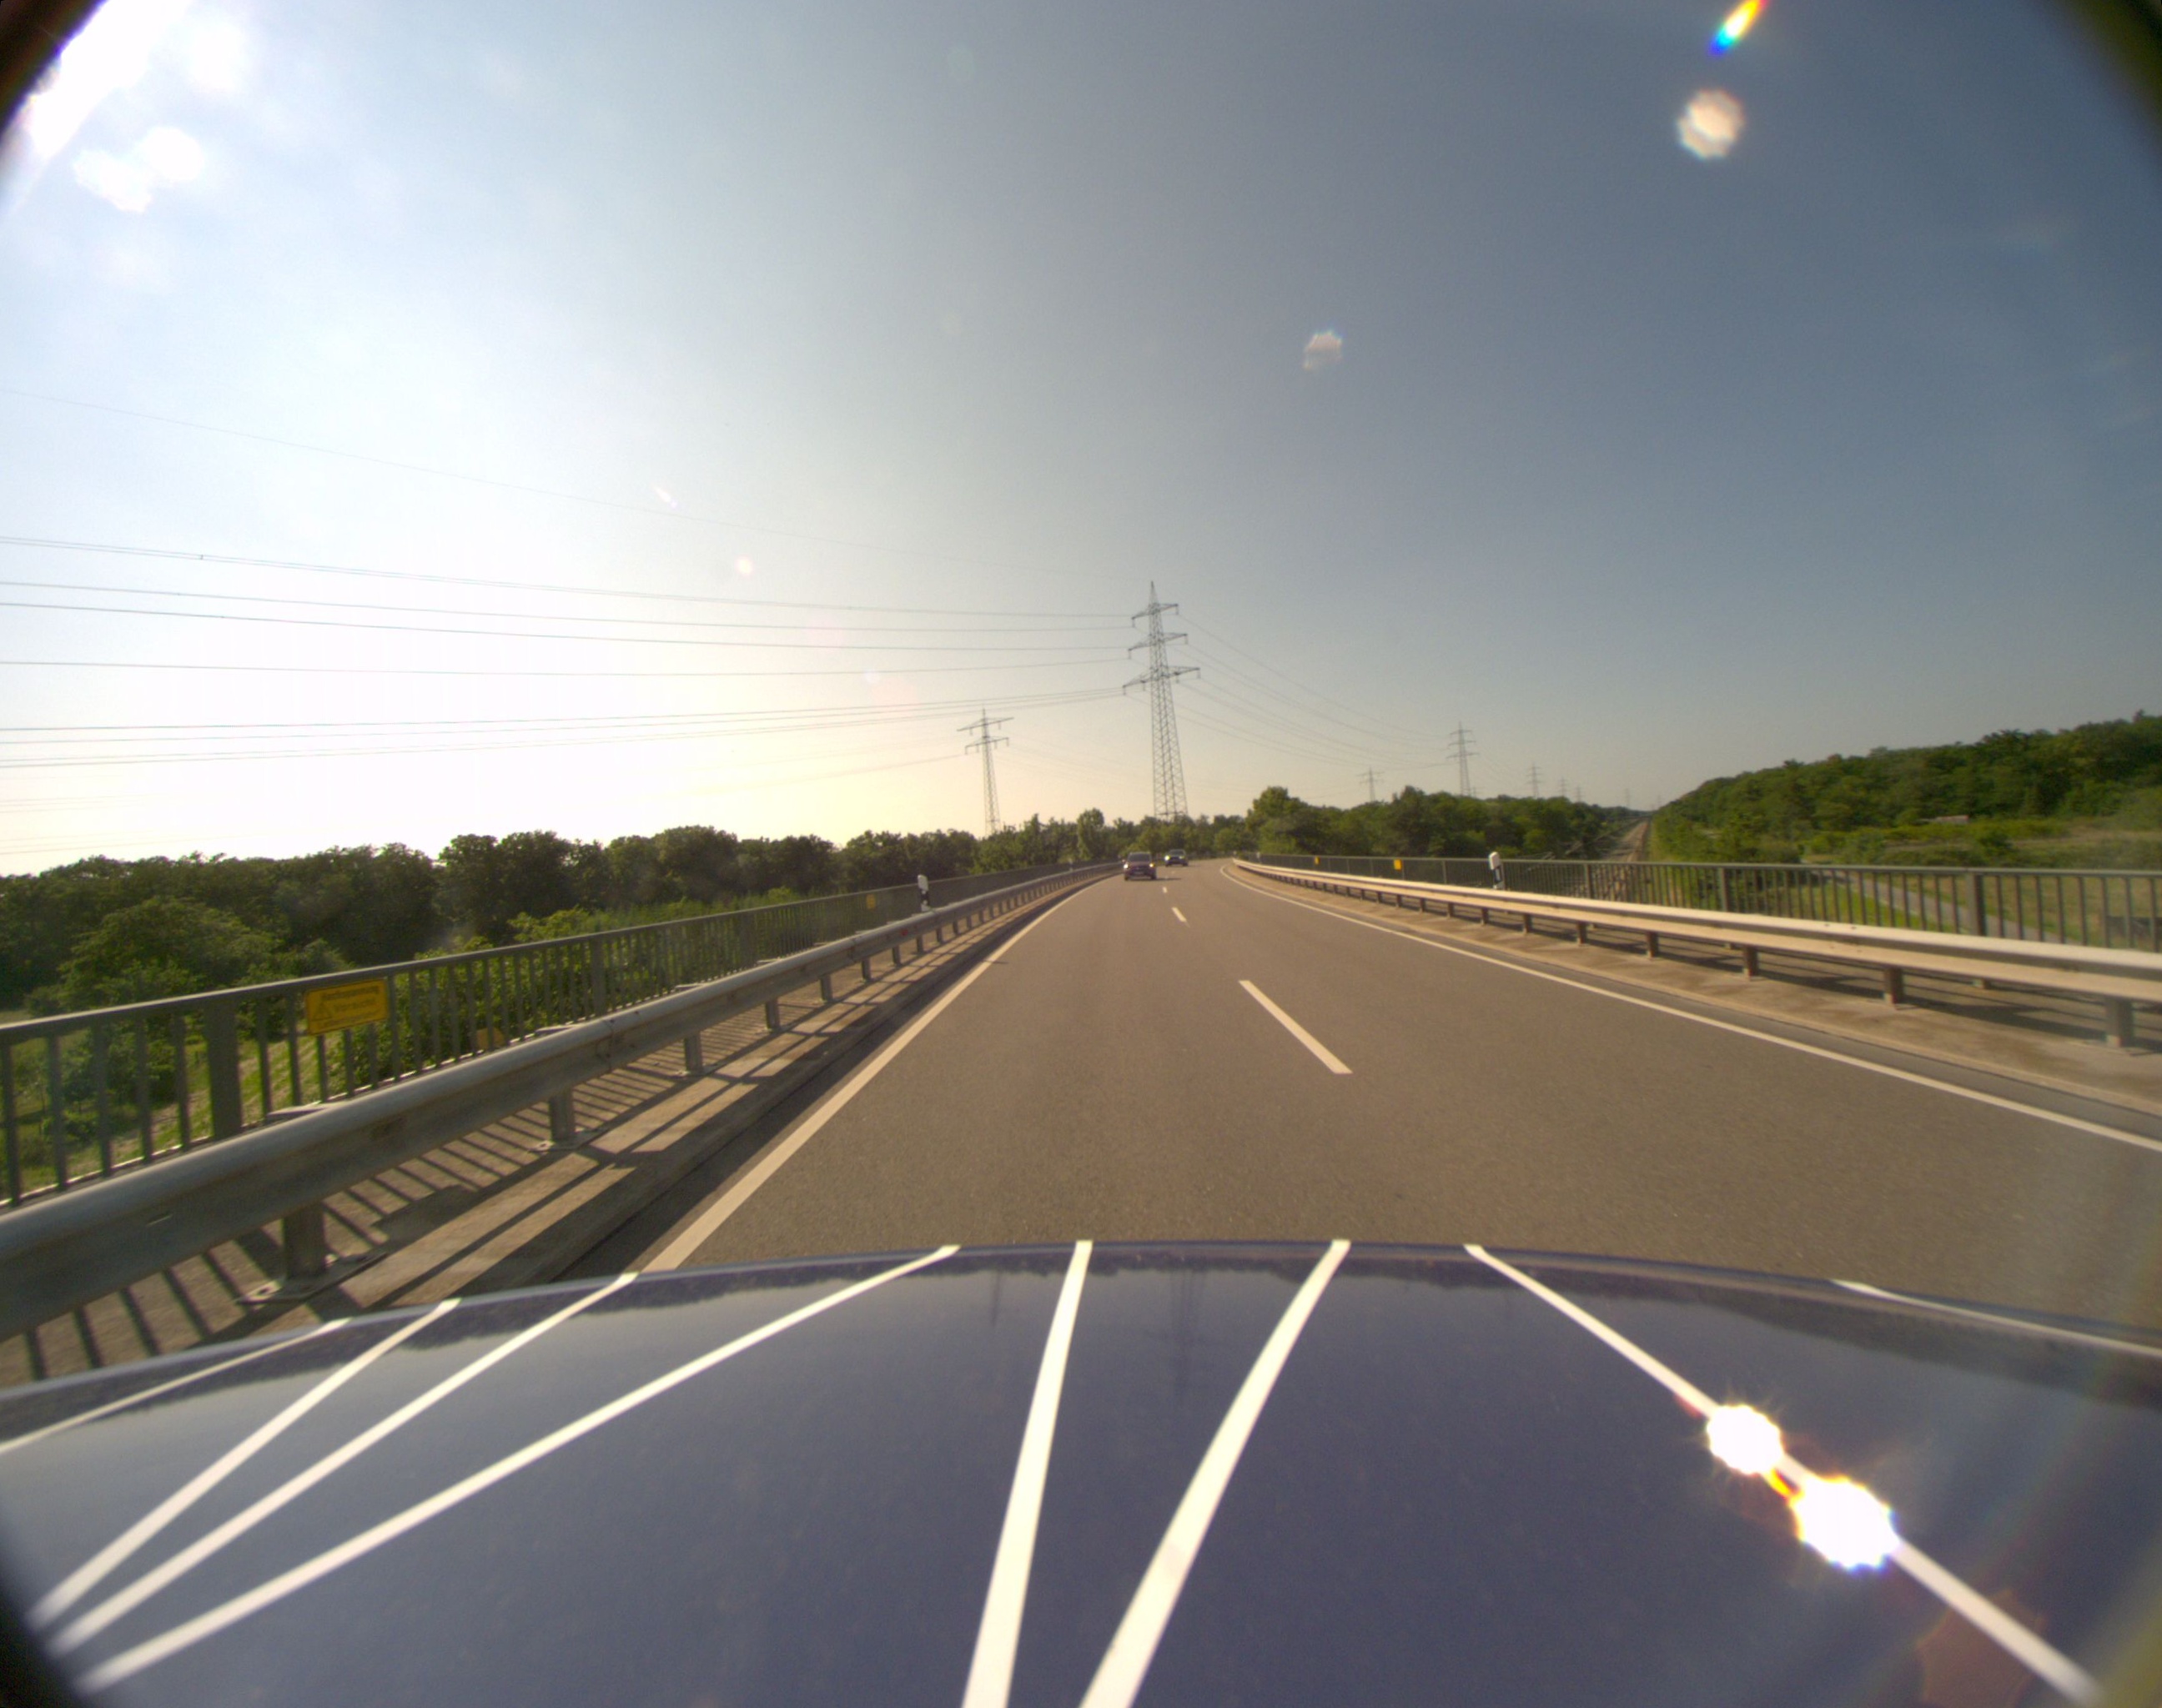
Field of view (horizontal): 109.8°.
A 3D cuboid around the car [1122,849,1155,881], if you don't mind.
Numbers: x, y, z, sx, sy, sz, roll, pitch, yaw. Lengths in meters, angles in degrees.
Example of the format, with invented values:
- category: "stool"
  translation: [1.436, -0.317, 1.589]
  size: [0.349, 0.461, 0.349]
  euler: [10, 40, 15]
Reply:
- category: "car"
  translation: [3.207, 0.569, 41.858]
  size: [1.606, 1.486, 4.001]
  euler: [-2, 1, 6]

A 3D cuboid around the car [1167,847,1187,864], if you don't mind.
- category: "car"
  translation: [9.511, 0.150, 75.086]
  size: [1.605, 1.486, 4.003]
  euler: [-2, 1, 12]
